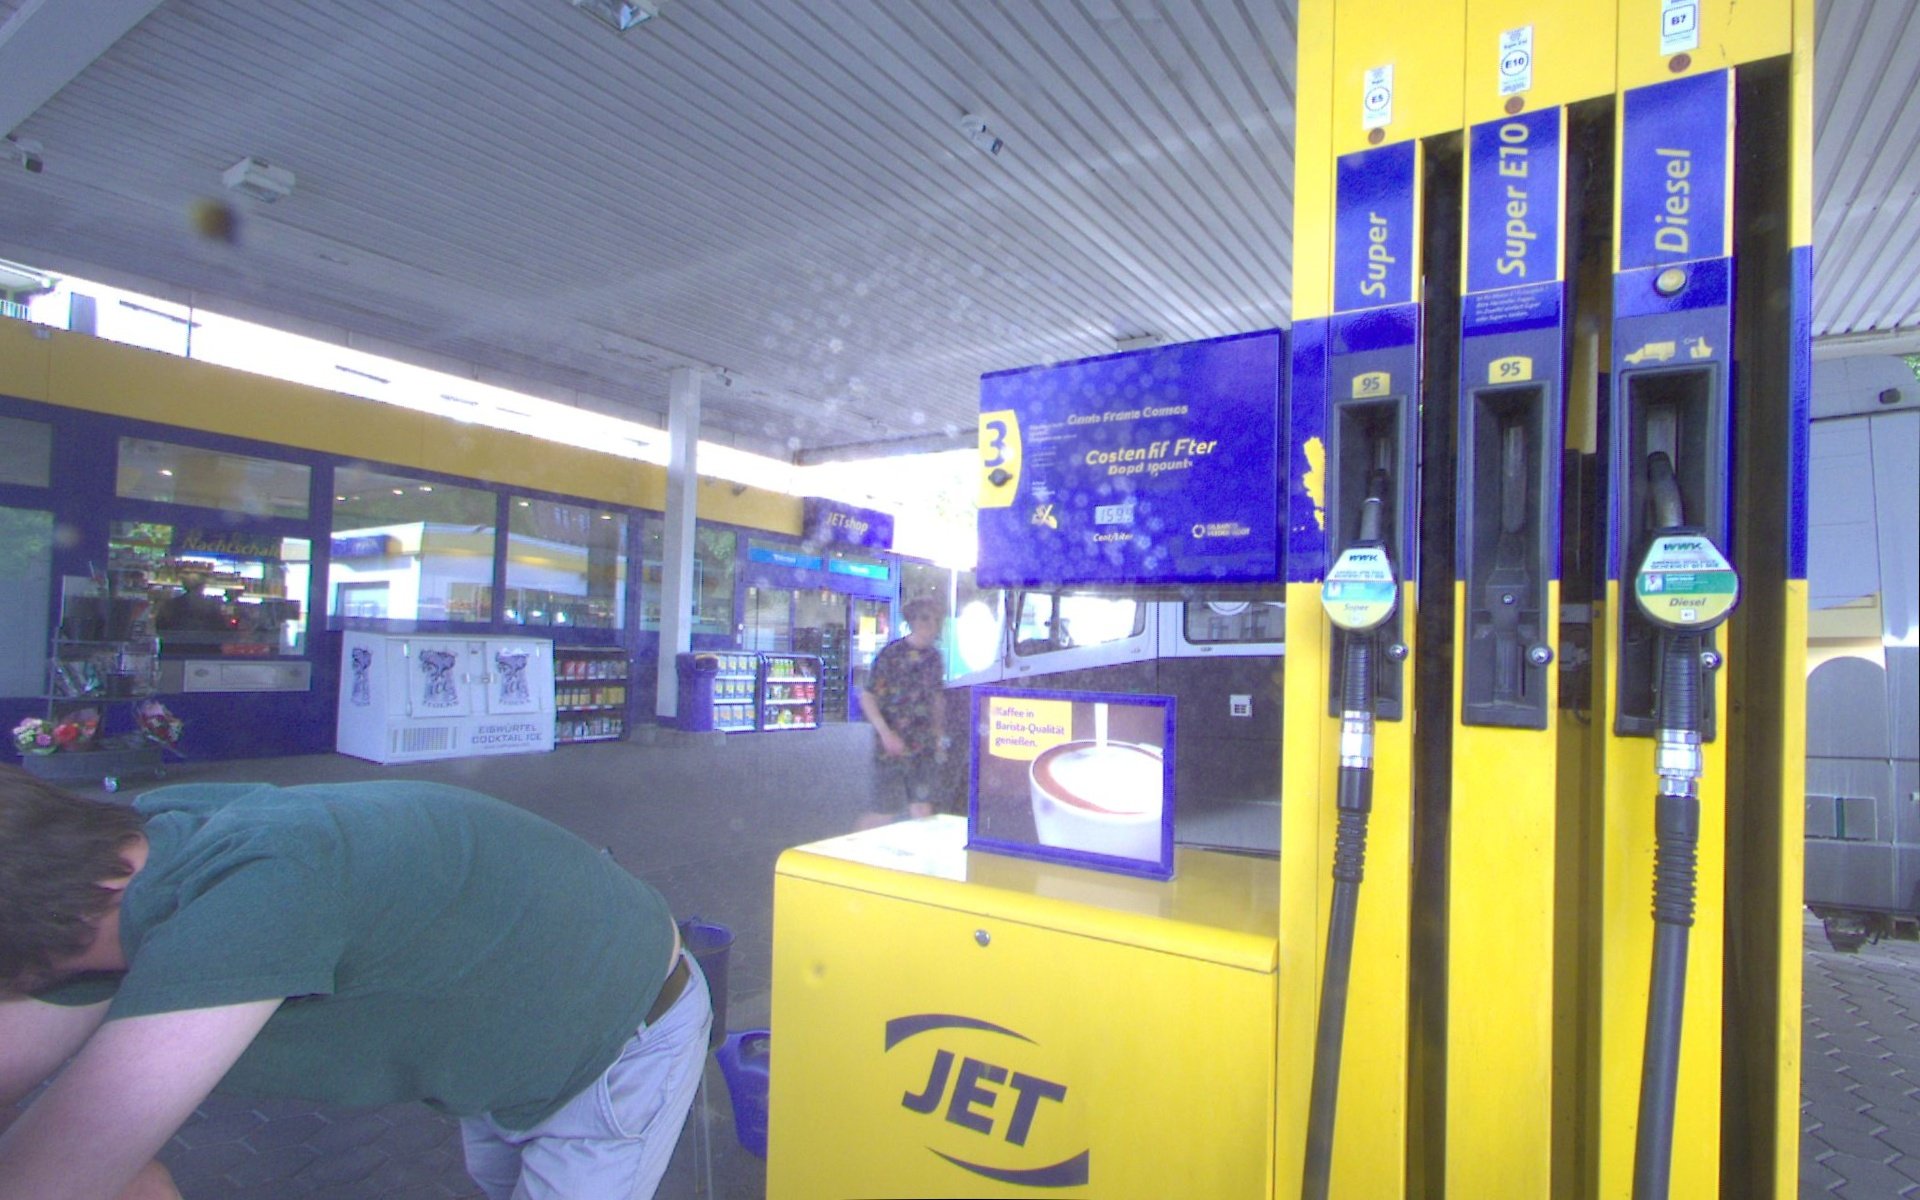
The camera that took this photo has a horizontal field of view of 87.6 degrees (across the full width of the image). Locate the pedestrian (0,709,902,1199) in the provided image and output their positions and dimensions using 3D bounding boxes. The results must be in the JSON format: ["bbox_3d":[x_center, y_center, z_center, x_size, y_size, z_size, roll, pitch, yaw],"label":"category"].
[{"bbox_3d":[-0.544,0.803,1.075,0.664,1.298,0.749,-1,-1,31],"label":"pedestrian"}]

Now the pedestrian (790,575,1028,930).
[{"bbox_3d":[-0.290,0.790,5.742,0.970,1.785,0.972,-1,-2,42],"label":"pedestrian"}]

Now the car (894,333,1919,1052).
[{"bbox_3d":[2.379,0.408,6.020,5.219,2.724,2.250,0,-3,34],"label":"car"}]
